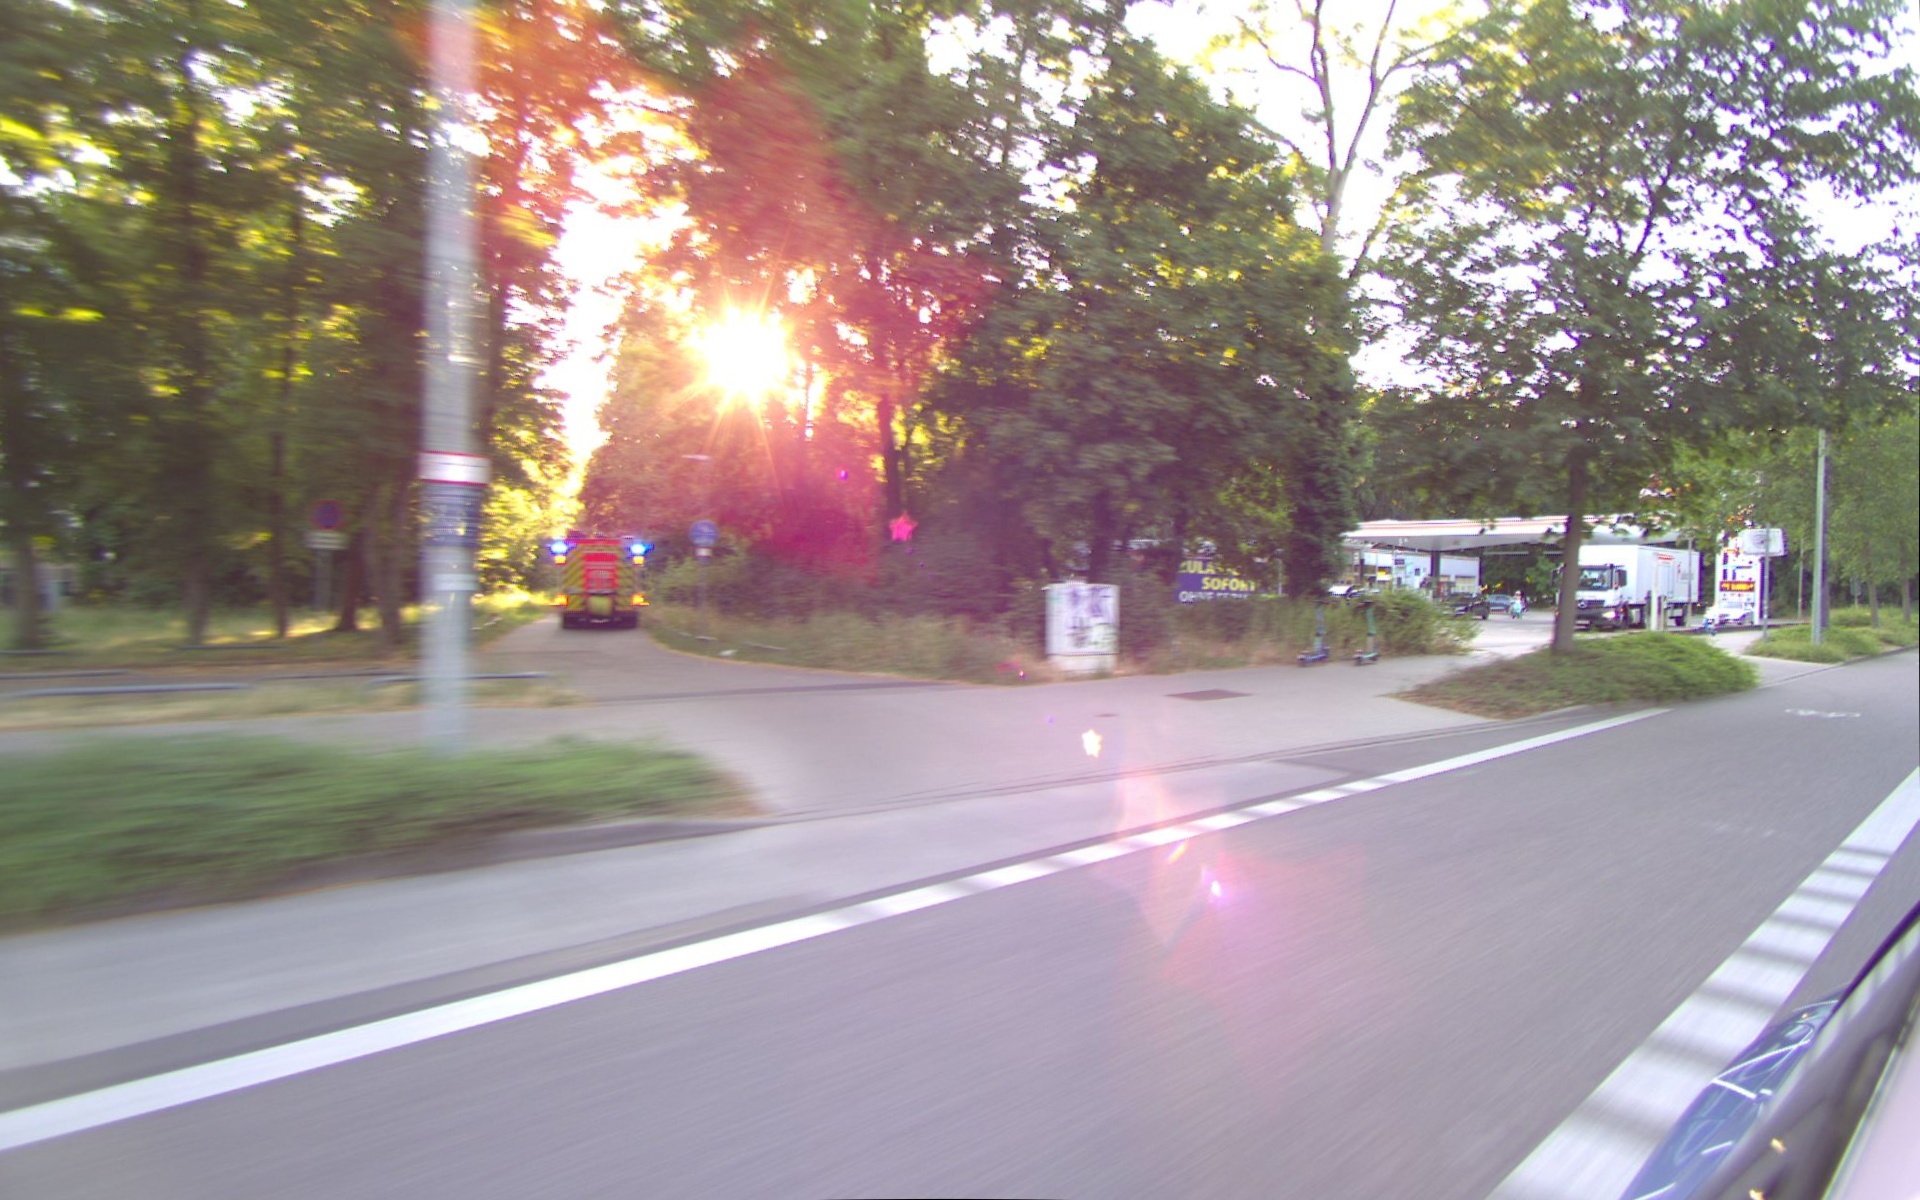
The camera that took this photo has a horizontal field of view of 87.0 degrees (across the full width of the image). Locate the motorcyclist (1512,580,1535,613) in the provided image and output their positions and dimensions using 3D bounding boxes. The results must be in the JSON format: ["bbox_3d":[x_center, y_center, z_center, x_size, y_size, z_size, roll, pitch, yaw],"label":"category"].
[{"bbox_3d":[35.407,-0.239,63.595,1.057,2.039,1.009,0,0,-41],"label":"motorcyclist"}]

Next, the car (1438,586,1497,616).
[{"bbox_3d":[27.682,0.062,55.152,3.933,1.528,1.670,1,0,-44],"label":"car"}]

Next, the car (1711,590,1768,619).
[{"bbox_3d":[45.954,0.244,59.618,4.631,1.611,1.995,0,0,-43],"label":"car"}]

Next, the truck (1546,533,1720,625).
[{"bbox_3d":[32.386,-0.901,48.200,15.614,3.776,3.222,0,0,-42],"label":"truck"}]

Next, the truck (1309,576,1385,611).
[{"bbox_3d":[22.654,-0.394,59.176,5.112,1.965,1.997,0,1,-41],"label":"truck"}]

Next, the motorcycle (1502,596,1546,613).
[{"bbox_3d":[35.463,0.295,63.616,3.930,1.037,1.136,0,0,-41],"label":"motorcycle"}]

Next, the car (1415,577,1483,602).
[{"bbox_3d":[33.626,-0.726,69.639,3.952,1.543,1.986,3,1,21],"label":"car"}]

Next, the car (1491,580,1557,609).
[{"bbox_3d":[40.819,-0.391,73.309,3.979,2.039,1.808,1,1,38],"label":"car"}]

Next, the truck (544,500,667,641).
[{"bbox_3d":[-9.892,-0.764,27.968,2.703,3.251,8.683,1,1,-21],"label":"truck"}]

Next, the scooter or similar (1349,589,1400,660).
[{"bbox_3d":[7.933,0.457,19.369,0.482,1.298,1.122,3,2,44],"label":"scooter or similar"}]

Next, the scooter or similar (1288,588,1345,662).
[{"bbox_3d":[6.595,0.447,18.704,0.482,1.298,1.212,3,2,44],"label":"scooter or similar"}]
